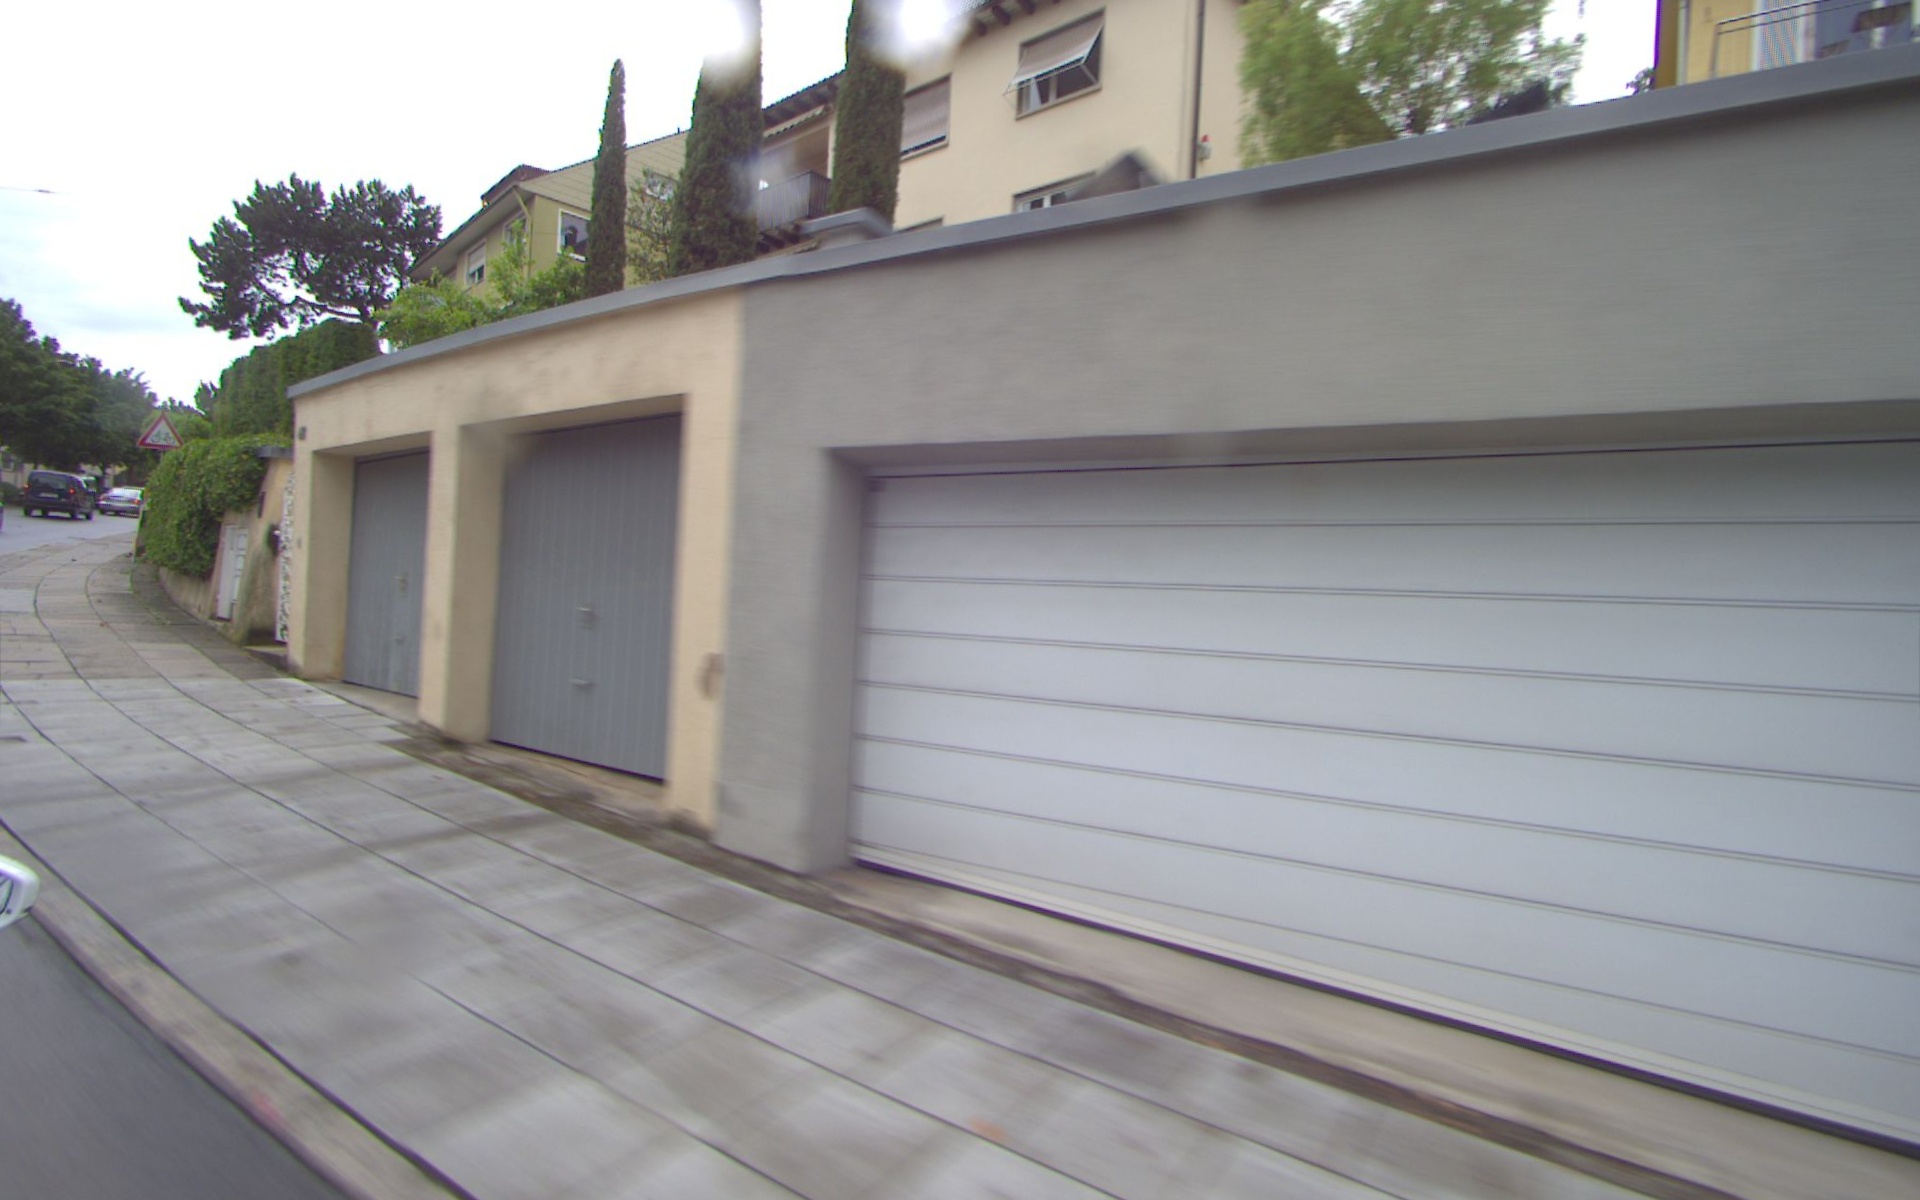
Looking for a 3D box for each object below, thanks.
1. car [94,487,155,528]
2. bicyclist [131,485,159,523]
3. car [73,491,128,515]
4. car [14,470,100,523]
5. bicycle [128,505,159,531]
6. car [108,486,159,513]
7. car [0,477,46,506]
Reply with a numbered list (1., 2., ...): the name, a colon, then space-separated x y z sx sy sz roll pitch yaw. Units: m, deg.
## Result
1. car: -43.518 -4.834 52.497 1.721 1.792 4.197 6 3 -32
2. bicyclist: -34.684 -4.081 42.797 0.719 1.492 0.879 4 3 -30
3. car: -56.997 -6.441 66.819 1.751 1.407 4.598 3 4 -27
4. car: -36.734 -4.241 41.024 1.721 1.792 4.197 6 3 -32
5. bicycle: -34.743 -3.486 42.811 0.724 0.977 1.657 5 2 -30
6. car: -59.906 -7.248 73.010 1.750 1.649 4.659 3 2 -26
7. car: -52.282 -6.013 55.607 1.753 1.456 4.311 2 3 -31
